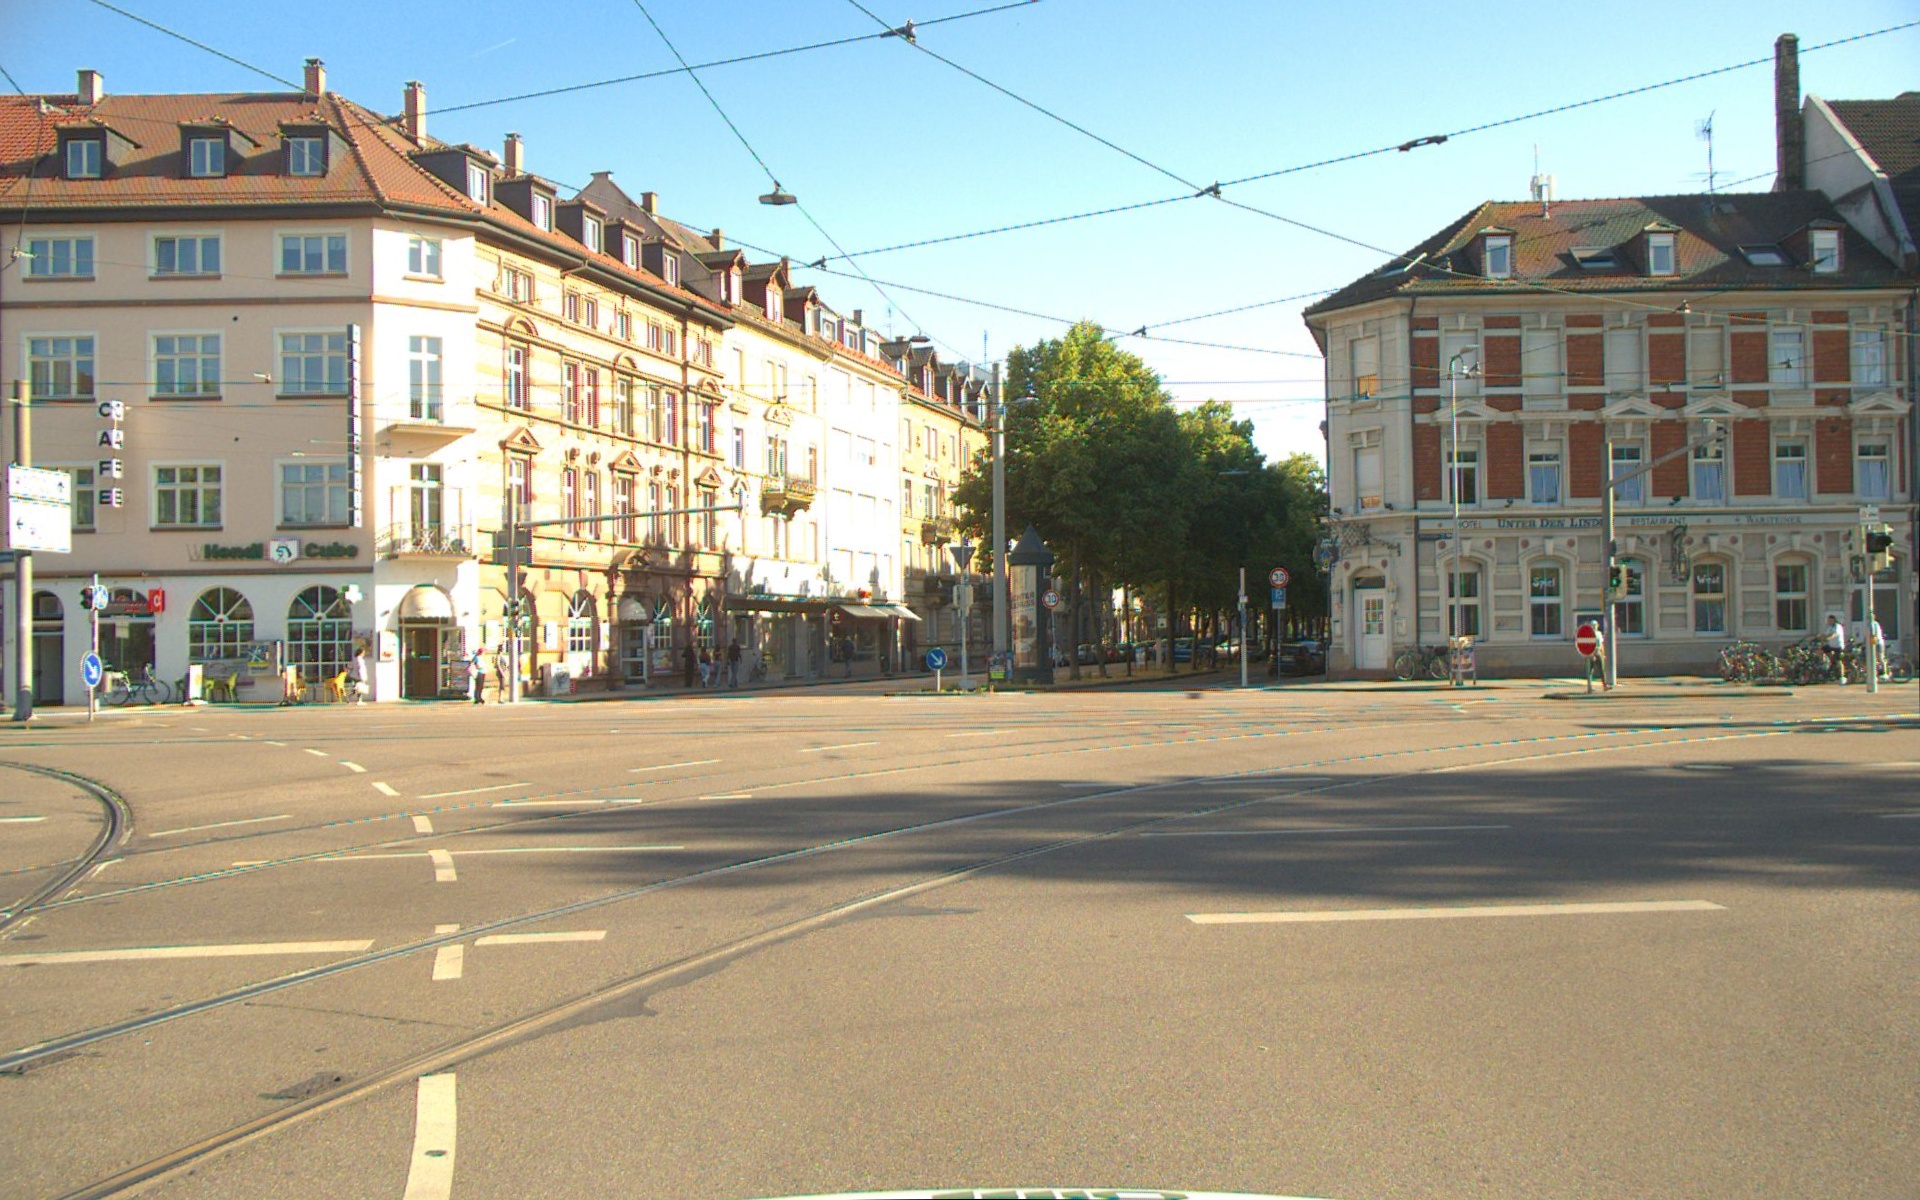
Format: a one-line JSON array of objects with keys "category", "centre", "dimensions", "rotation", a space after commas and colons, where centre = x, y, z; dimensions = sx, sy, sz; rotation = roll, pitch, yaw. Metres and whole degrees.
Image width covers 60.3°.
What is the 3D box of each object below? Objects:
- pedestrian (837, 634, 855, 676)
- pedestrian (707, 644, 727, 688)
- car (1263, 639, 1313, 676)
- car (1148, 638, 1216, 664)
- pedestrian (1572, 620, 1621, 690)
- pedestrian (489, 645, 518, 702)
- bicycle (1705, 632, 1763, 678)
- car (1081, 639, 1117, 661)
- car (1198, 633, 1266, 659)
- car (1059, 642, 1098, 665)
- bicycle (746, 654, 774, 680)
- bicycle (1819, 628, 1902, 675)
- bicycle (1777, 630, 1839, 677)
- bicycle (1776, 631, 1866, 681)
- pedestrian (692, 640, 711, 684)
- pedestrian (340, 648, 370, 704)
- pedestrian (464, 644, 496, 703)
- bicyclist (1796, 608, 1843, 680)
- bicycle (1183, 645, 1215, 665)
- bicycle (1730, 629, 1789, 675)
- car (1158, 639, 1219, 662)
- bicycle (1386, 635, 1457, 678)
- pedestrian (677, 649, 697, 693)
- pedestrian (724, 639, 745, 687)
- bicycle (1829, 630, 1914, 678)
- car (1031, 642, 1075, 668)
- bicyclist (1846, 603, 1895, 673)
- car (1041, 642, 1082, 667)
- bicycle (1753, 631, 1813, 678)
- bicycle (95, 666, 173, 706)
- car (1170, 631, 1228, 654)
[{"category": "pedestrian", "centre": [-5.412, 2.606, 78.491], "dimensions": [0.667, 1.942, 0.633], "rotation": [-2, -1, 16]}, {"category": "pedestrian", "centre": [-9.327, 2.522, 63.570], "dimensions": [0.539, 1.670, 0.633], "rotation": [-1, -1, 11]}, {"category": "car", "centre": [14.668, 2.541, 73.854], "dimensions": [1.951, 1.523, 4.036], "rotation": [-2, -1, 15]}, {"category": "car", "centre": [14.379, 3.299, 107.108], "dimensions": [3.911, 1.572, 1.997], "rotation": [-2, -1, 29]}, {"category": "pedestrian", "centre": [15.762, 1.353, 40.986], "dimensions": [0.702, 1.699, 0.937], "rotation": [-1, -1, -10]}, {"category": "pedestrian", "centre": [-13.486, 2.167, 48.902], "dimensions": [0.617, 1.670, 0.553], "rotation": [-2, -1, 14]}, {"category": "bicycle", "centre": [20.855, 1.469, 44.591], "dimensions": [0.663, 1.211, 1.967], "rotation": [-1, -1, 2]}, {"category": "car", "centre": [10.378, 3.739, 123.122], "dimensions": [1.951, 1.523, 4.036], "rotation": [-2, -1, 15]}, {"category": "car", "centre": [17.762, 2.986, 107.965], "dimensions": [3.914, 1.572, 1.995], "rotation": [-2, -1, 31]}, {"category": "car", "centre": [8.170, 3.675, 114.049], "dimensions": [1.951, 1.523, 4.036], "rotation": [-2, -1, 15]}, {"category": "bicycle", "centre": [-8.588, 2.874, 71.099], "dimensions": [0.484, 1.086, 1.770], "rotation": [-2, -1, 17]}, {"category": "bicycle", "centre": [24.057, 1.366, 44.198], "dimensions": [1.926, 1.211, 0.677], "rotation": [-1, -1, -11]}, {"category": "bicycle", "centre": [22.844, 1.426, 44.601], "dimensions": [0.663, 1.211, 1.967], "rotation": [-1, -1, 2]}, {"category": "bicycle", "centre": [22.042, 1.429, 42.355], "dimensions": [1.920, 1.211, 0.602], "rotation": [-1, -1, 3]}, {"category": "pedestrian", "centre": [-9.931, 2.366, 63.554], "dimensions": [0.539, 1.670, 0.538], "rotation": [-1, -1, 10]}, {"category": "pedestrian", "centre": [-17.078, 2.139, 46.692], "dimensions": [0.646, 1.551, 0.693], "rotation": [-1, -1, -9]}, {"category": "pedestrian", "centre": [-13.773, 2.098, 47.447], "dimensions": [0.661, 1.670, 0.579], "rotation": [-2, -1, 14]}, {"category": "bicyclist", "centre": [22.015, 1.128, 42.366], "dimensions": [0.854, 1.795, 0.602], "rotation": [-1, -1, 3]}, {"category": "bicycle", "centre": [13.085, 3.034, 90.688], "dimensions": [0.577, 1.086, 1.925], "rotation": [0, -1, -35]}, {"category": "bicycle", "centre": [21.542, 1.395, 44.616], "dimensions": [0.663, 1.211, 1.967], "rotation": [-1, -1, 2]}, {"category": "car", "centre": [16.551, 3.633, 119.718], "dimensions": [3.911, 1.572, 1.997], "rotation": [-2, -1, 29]}, {"category": "bicycle", "centre": [13.560, 1.667, 48.639], "dimensions": [1.919, 1.211, 0.546], "rotation": [-1, -1, 5]}, {"category": "pedestrian", "centre": [-10.484, 2.734, 63.507], "dimensions": [0.613, 1.670, 0.538], "rotation": [-1, -1, 11]}, {"category": "pedestrian", "centre": [-8.735, 2.439, 64.127], "dimensions": [0.567, 1.868, 0.633], "rotation": [-2, -1, 16]}, {"category": "bicycle", "centre": [23.843, 1.414, 43.276], "dimensions": [1.922, 1.211, 0.601], "rotation": [-1, -1, -5]}, {"category": "car", "centre": [5.889, 3.436, 104.341], "dimensions": [1.951, 1.523, 4.036], "rotation": [-2, -1, 15]}, {"category": "bicyclist", "centre": [23.823, 0.995, 43.283], "dimensions": [0.885, 1.795, 0.601], "rotation": [-1, -1, -5]}, {"category": "car", "centre": [6.677, 3.544, 108.649], "dimensions": [1.951, 1.523, 4.036], "rotation": [-2, -1, 15]}, {"category": "bicycle", "centre": [22.182, 1.452, 44.612], "dimensions": [0.663, 1.211, 1.967], "rotation": [-1, -1, 2]}, {"category": "bicycle", "centre": [-24.013, 2.490, 48.104], "dimensions": [1.906, 1.086, 0.582], "rotation": [-1, -1, -7]}, {"category": "car", "centre": [18.187, 3.229, 125.784], "dimensions": [3.911, 1.572, 1.997], "rotation": [-2, -1, 29]}]
